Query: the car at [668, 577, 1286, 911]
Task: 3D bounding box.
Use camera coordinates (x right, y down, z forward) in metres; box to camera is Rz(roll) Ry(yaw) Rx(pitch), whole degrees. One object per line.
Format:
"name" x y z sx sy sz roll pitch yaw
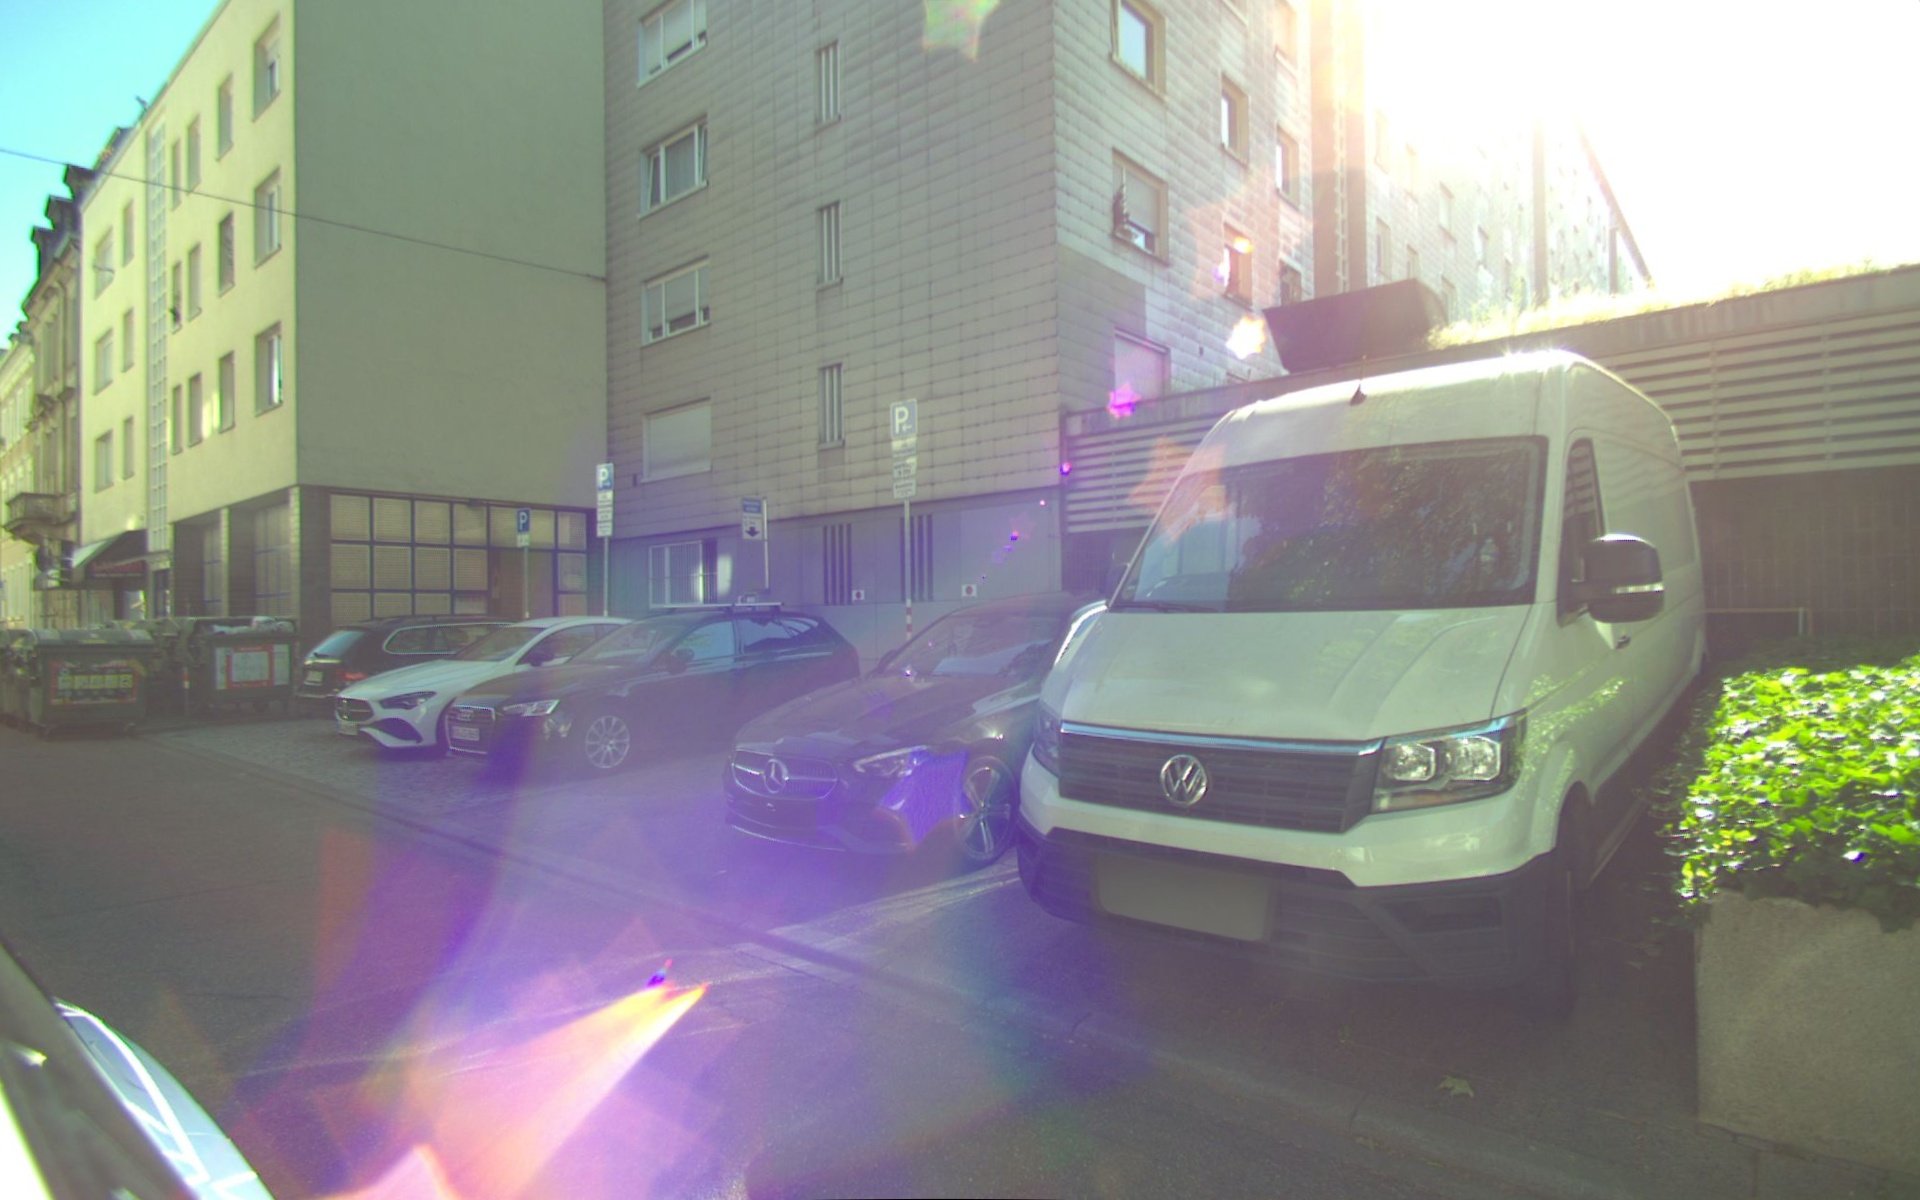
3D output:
"car" 0.438 0.678 7.189 1.928 1.481 4.453 -2 1 41

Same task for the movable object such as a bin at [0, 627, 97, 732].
"movable object such as a bin" -14.216 1.187 15.539 1.017 1.510 1.329 -1 -1 40

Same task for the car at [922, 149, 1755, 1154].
"car" 2.905 0.008 5.800 2.145 2.574 6.668 -1 2 42

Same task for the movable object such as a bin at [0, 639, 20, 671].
"movable object such as a bin" -35.566 2.050 37.712 0.584 1.140 0.713 -1 -2 37

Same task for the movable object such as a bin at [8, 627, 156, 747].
"movable object such as a bin" -11.688 1.107 13.487 1.115 1.462 1.288 -1 -1 37

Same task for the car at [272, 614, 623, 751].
"car" -6.765 0.975 13.665 1.825 1.516 3.837 -1 -1 39

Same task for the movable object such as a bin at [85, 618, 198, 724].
"movable object such as a bin" -13.375 1.117 16.556 1.017 1.633 1.281 -1 -1 40

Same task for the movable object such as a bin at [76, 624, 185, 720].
"movable object such as a bin" -14.116 1.184 17.229 1.017 1.534 1.289 -1 -1 40

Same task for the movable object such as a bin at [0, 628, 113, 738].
"movable object such as a bin" -13.395 1.178 14.856 1.081 1.502 1.321 -1 -1 40

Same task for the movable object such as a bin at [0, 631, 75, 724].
"movable object such as a bin" -15.783 1.275 16.903 1.093 1.495 1.320 -1 -3 40

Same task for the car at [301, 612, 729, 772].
"car" -5.130 0.931 12.172 1.956 1.436 4.299 -1 0 39

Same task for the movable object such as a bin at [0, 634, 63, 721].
"movable object such as a bin" -16.669 1.335 17.670 1.186 1.461 1.306 -1 -3 40

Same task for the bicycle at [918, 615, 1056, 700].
"bicycle" 0.356 0.811 14.581 2.037 1.132 0.603 -2 -1 40

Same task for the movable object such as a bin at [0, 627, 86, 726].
"movable object such as a bin" -14.988 1.200 16.229 1.002 1.498 1.335 -1 -1 40

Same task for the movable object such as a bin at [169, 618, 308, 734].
"movable object such as a bin" -10.424 1.051 14.643 1.118 1.561 1.341 -1 -1 34

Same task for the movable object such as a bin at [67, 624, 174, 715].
"movable object such as a bin" -14.900 1.199 17.969 1.156 1.510 1.292 -1 -1 40

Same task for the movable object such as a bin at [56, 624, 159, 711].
"movable object such as a bin" -15.771 1.218 18.731 1.178 1.509 1.283 -1 -1 40

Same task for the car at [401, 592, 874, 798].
"car" -3.118 0.780 10.640 1.913 1.622 4.423 -1 0 38

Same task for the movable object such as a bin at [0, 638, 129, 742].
"movable object such as a bin" -12.538 1.215 14.179 1.045 1.332 1.228 -1 -1 40

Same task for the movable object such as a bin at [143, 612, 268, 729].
"movable object such as a bin" -11.391 1.016 15.295 1.171 1.665 1.217 -1 -1 35

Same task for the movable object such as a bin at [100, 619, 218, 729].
"movable object such as a bin" -12.558 1.109 15.874 1.081 1.616 1.275 -1 -1 40
